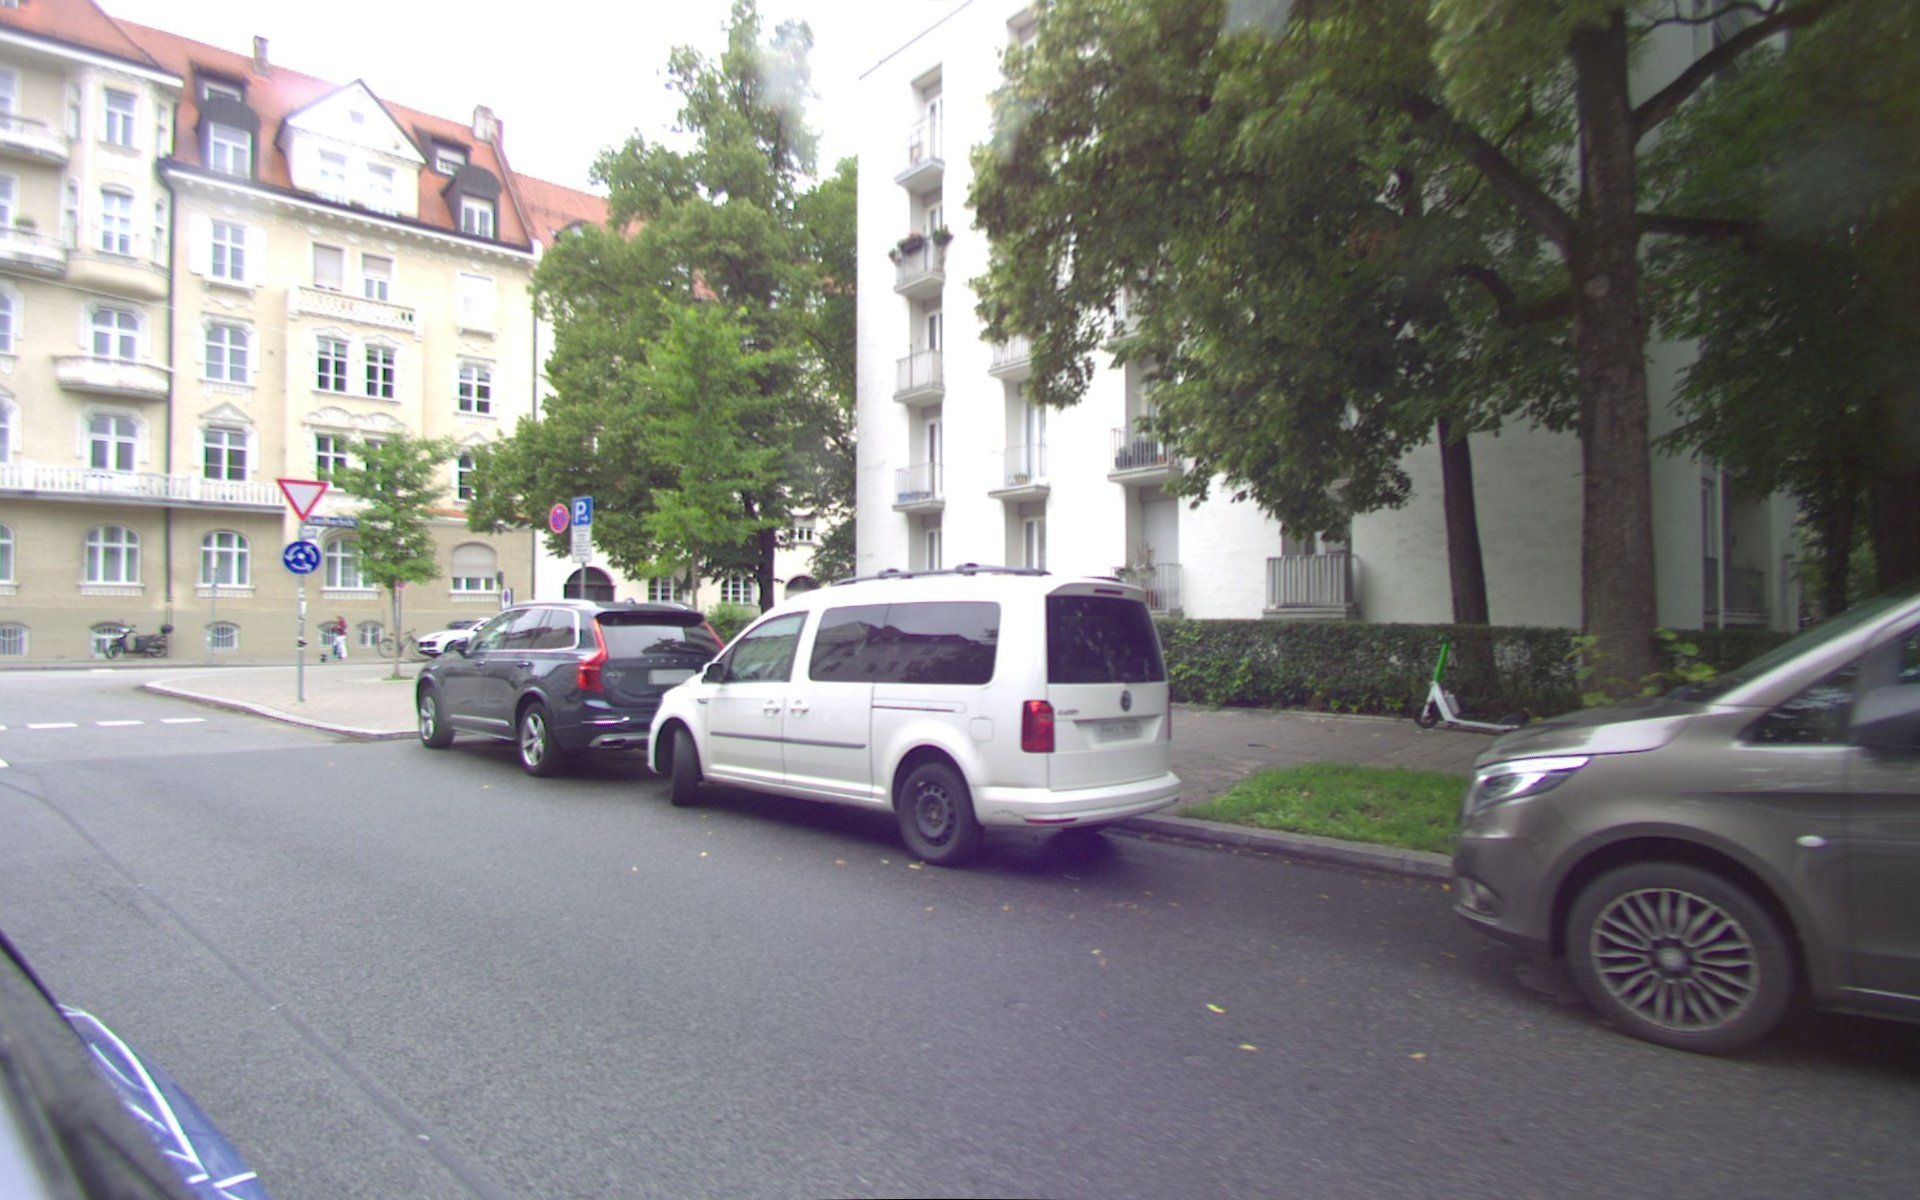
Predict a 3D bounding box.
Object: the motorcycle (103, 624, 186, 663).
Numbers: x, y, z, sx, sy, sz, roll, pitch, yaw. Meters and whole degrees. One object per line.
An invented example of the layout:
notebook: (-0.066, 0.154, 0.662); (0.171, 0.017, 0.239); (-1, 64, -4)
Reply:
motorcycle: (-28.911, 1.521, 35.918); (2.212, 1.336, 0.824); (2, -1, -44)

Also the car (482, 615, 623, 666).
car: (-13.411, 1.350, 33.491); (1.591, 1.602, 4.041); (-3, -3, 43)

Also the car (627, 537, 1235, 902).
car: (-0.525, 0.718, 7.803); (4.835, 1.952, 1.858); (-2, -3, 45)

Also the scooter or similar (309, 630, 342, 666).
scooter or similar: (-22.886, 1.707, 36.501); (0.403, 1.239, 1.279); (1, -1, -2)

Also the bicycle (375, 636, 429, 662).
bicycle: (-21.797, 1.911, 39.565); (1.782, 0.964, 0.468); (2, -1, -39)

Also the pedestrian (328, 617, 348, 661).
pedestrian: (-24.299, 1.527, 39.542); (0.597, 1.677, 0.464); (2, -1, -36)

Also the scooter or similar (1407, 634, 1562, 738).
scooter or similar: (6.241, 0.986, 12.094); (1.563, 1.126, 0.535); (0, -1, 42)

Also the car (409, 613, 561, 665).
car: (-18.610, 1.531, 39.784); (4.953, 1.880, 2.169); (2, -2, -42)

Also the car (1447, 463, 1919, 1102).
car: (4.636, 0.574, 3.003); (5.455, 1.979, 1.925); (-1, -3, 40)

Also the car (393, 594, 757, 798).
car: (-4.504, 0.857, 11.311); (5.062, 1.781, 1.858); (0, -1, 45)

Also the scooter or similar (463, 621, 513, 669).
scooter or similar: (-14.232, 1.351, 30.525); (1.092, 1.398, 0.800); (-2, -1, 9)
